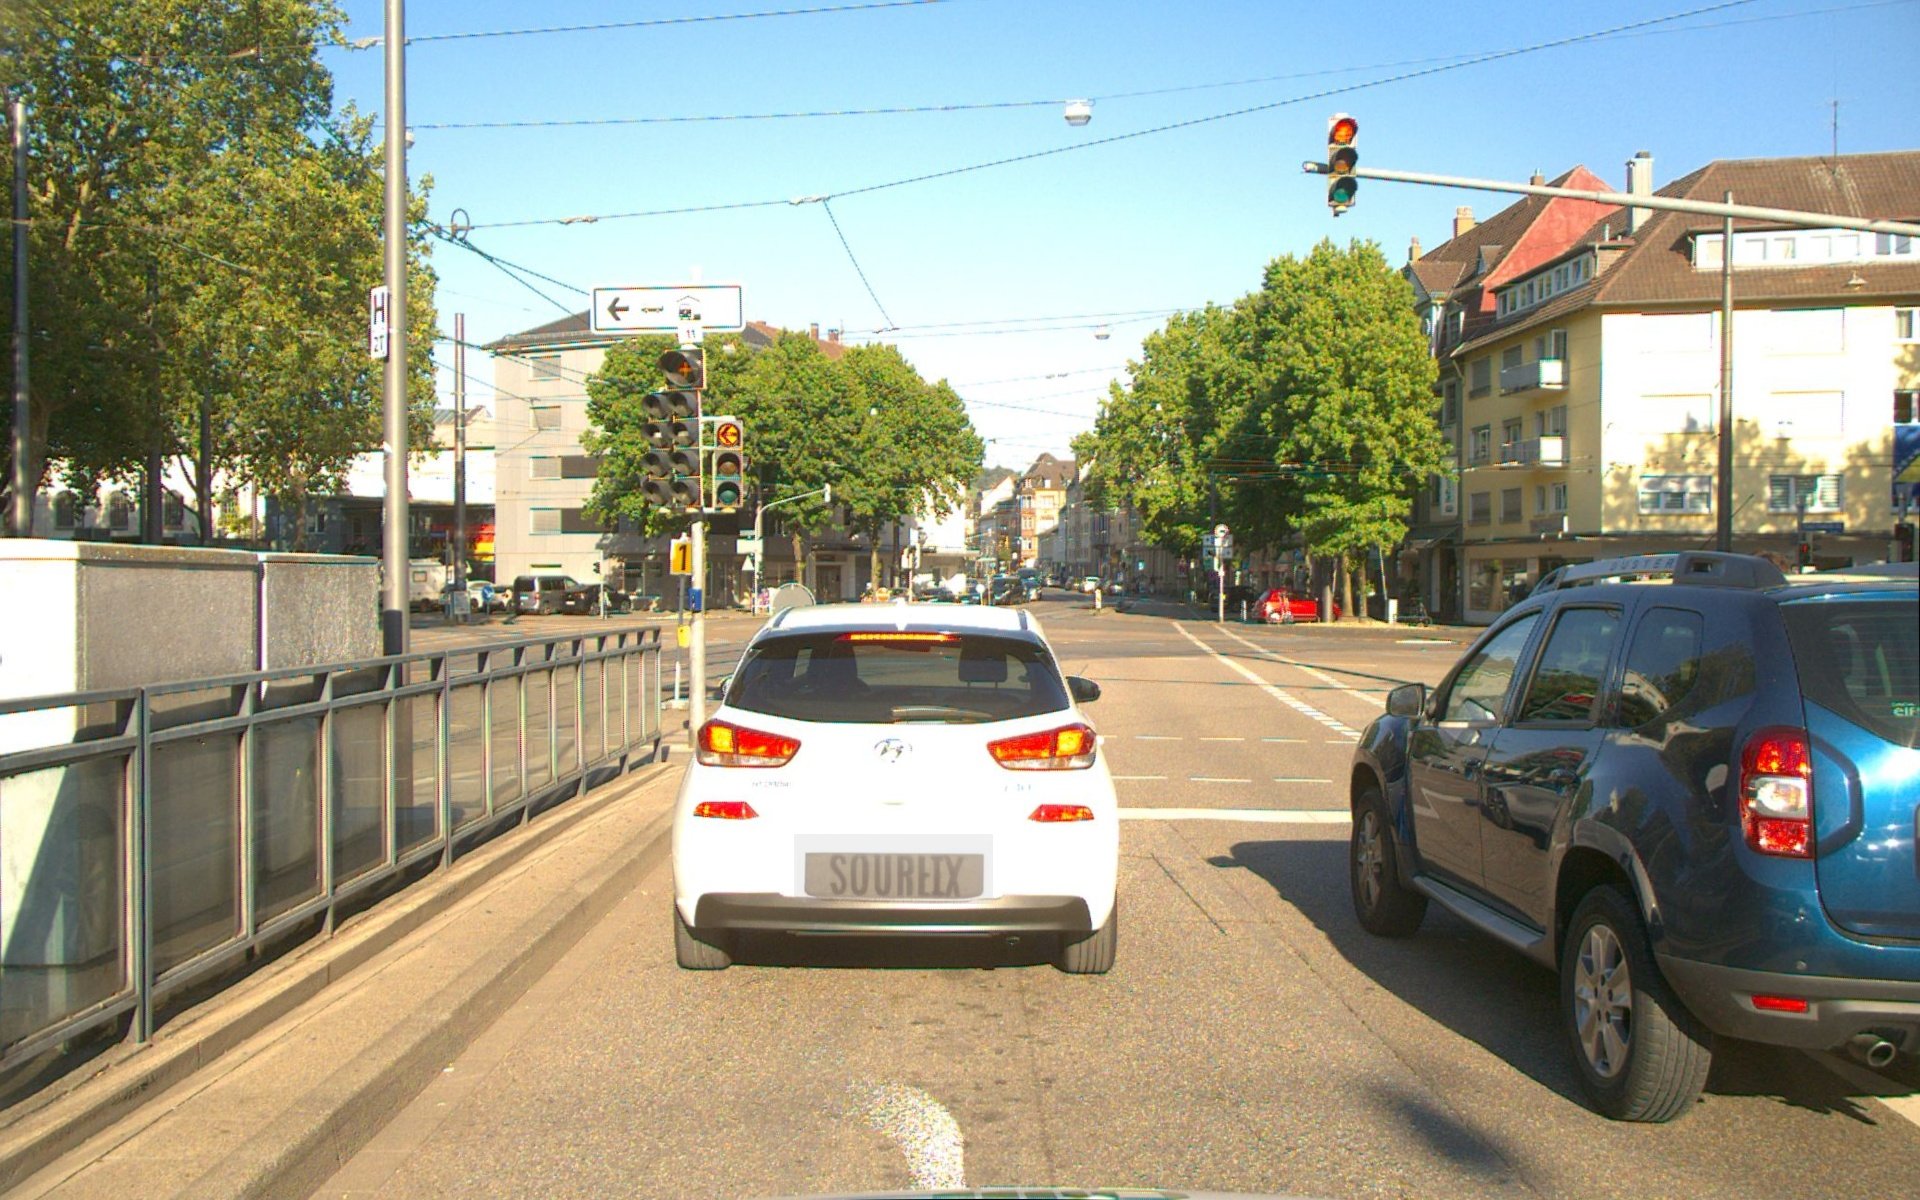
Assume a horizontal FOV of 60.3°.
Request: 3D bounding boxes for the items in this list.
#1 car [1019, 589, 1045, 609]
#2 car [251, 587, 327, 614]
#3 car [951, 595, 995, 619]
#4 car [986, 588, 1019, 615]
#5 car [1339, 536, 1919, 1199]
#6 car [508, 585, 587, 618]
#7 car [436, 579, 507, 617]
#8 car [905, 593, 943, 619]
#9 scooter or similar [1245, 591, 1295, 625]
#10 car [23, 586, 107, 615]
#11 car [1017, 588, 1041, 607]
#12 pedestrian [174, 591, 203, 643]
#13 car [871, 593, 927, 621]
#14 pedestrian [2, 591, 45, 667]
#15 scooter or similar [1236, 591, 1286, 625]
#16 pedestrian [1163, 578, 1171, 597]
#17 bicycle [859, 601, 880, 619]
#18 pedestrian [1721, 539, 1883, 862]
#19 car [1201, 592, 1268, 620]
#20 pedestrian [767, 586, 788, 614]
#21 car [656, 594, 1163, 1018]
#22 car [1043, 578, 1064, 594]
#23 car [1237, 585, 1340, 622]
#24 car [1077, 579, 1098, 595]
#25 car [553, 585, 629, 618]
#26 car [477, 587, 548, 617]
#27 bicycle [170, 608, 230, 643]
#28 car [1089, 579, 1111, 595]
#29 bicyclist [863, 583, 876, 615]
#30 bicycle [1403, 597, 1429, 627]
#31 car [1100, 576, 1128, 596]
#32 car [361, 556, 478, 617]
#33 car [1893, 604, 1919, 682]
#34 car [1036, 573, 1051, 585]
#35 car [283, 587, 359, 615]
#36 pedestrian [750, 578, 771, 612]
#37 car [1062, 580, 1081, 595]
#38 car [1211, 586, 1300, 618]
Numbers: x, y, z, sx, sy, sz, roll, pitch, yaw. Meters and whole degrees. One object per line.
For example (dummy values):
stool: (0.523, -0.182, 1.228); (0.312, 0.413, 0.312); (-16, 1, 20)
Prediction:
car: (5.696, -0.063, 130.745); (1.758, 1.536, 3.999); (0, 0, -2)
car: (-38.396, 0.003, 94.688); (1.758, 1.537, 3.999); (0, 0, 23)
car: (0.867, 0.463, 108.633); (1.756, 1.537, 4.002); (0, 0, 18)
car: (3.028, 0.086, 116.095); (1.756, 1.858, 4.004); (0, 0, 10)
car: (2.770, 0.672, 6.034); (1.763, 1.666, 4.044); (1, 0, -1)
car: (-21.455, 0.070, 86.156); (1.760, 1.677, 4.004); (0, 0, 28)
car: (-26.252, -0.121, 89.013); (1.756, 1.990, 4.002); (0, 0, 18)
car: (-2.171, 0.387, 100.473); (1.756, 1.537, 4.003); (0, 0, 6)
scooter or similar: (12.119, 0.320, 64.636); (1.915, 1.303, 0.550); (0, 0, 41)
car: (-47.941, 0.022, 88.606); (3.904, 1.537, 1.800); (0, 0, 20)
car: (5.781, -0.243, 138.735); (1.758, 1.536, 3.999); (0, 0, -2)
pedestrian: (-25.252, 0.567, 54.162); (0.634, 1.690, 0.650); (0, 0, 2)
car: (-3.475, 0.393, 94.530); (1.689, 1.537, 3.874); (0, 0, 24)
pedestrian: (-19.856, 0.606, 35.064); (0.524, 1.579, 0.677); (0, 0, -1)
scooter or similar: (11.669, 0.306, 64.081); (1.915, 1.303, 0.550); (0, 0, 41)
pedestrian: (18.033, -1.089, 144.081); (0.634, 1.680, 0.651); (1, -1, 10)
bicycle: (-4.942, 0.527, 90.139); (0.458, 0.973, 1.767); (0, 0, 22)
pedestrian: (5.131, 0.592, 10.112); (0.643, 1.904, 0.677); (0, 0, -1)
car: (15.717, 0.341, 94.700); (3.967, 1.537, 1.772); (0, 0, -43)
pedestrian: (-9.839, -0.006, 89.369); (0.786, 1.510, 0.861); (0, 0, 25)
car: (-0.213, 0.726, 7.850); (1.771, 1.478, 3.999); (1, 0, -1)
car: (11.836, -1.797, 209.399); (2.280, 2.049, 4.975); (0, 0, -1)
car: (13.855, 0.142, 69.819); (3.913, 1.537, 1.796); (0, 0, -9)
car: (12.704, -1.267, 165.152); (1.758, 1.537, 3.999); (0, 0, -1)
car: (-19.041, 0.070, 85.478); (1.881, 1.677, 4.181); (0, 0, 20)
car: (-23.793, 0.102, 88.143); (1.756, 1.536, 4.012); (0, 0, 18)
bicycle: (-25.096, 0.845, 54.642); (1.757, 1.127, 0.500); (0, 0, 2)
car: (13.439, -1.211, 159.001); (1.758, 1.537, 3.999); (0, 0, -1)
bicyclist: (-4.938, -0.062, 90.141); (0.458, 1.776, 0.717); (0, 0, 22)
bicycle: (17.653, 0.461, 64.073); (0.596, 1.127, 1.801); (0, 0, 4)
car: (14.198, -1.308, 152.653); (2.062, 1.807, 4.340); (0, 0, -1)
car: (-29.330, -0.734, 89.971); (2.445, 3.220, 6.534); (0, 0, 22)
car: (20.062, 0.852, 31.344); (3.961, 1.464, 1.801); (1, 1, -13)
car: (10.846, -2.682, 214.854); (1.758, 1.537, 3.999); (0, 0, -1)
car: (-36.024, 0.035, 93.352); (1.758, 1.537, 3.999); (0, 0, 23)
pedestrian: (-10.541, -0.283, 87.457); (0.820, 1.802, 0.782); (0, 0, 25)
car: (12.413, -1.395, 184.386); (1.758, 1.549, 3.999); (0, 0, -1)
car: (14.365, 0.080, 80.463); (3.910, 1.537, 1.798); (0, 0, -7)
